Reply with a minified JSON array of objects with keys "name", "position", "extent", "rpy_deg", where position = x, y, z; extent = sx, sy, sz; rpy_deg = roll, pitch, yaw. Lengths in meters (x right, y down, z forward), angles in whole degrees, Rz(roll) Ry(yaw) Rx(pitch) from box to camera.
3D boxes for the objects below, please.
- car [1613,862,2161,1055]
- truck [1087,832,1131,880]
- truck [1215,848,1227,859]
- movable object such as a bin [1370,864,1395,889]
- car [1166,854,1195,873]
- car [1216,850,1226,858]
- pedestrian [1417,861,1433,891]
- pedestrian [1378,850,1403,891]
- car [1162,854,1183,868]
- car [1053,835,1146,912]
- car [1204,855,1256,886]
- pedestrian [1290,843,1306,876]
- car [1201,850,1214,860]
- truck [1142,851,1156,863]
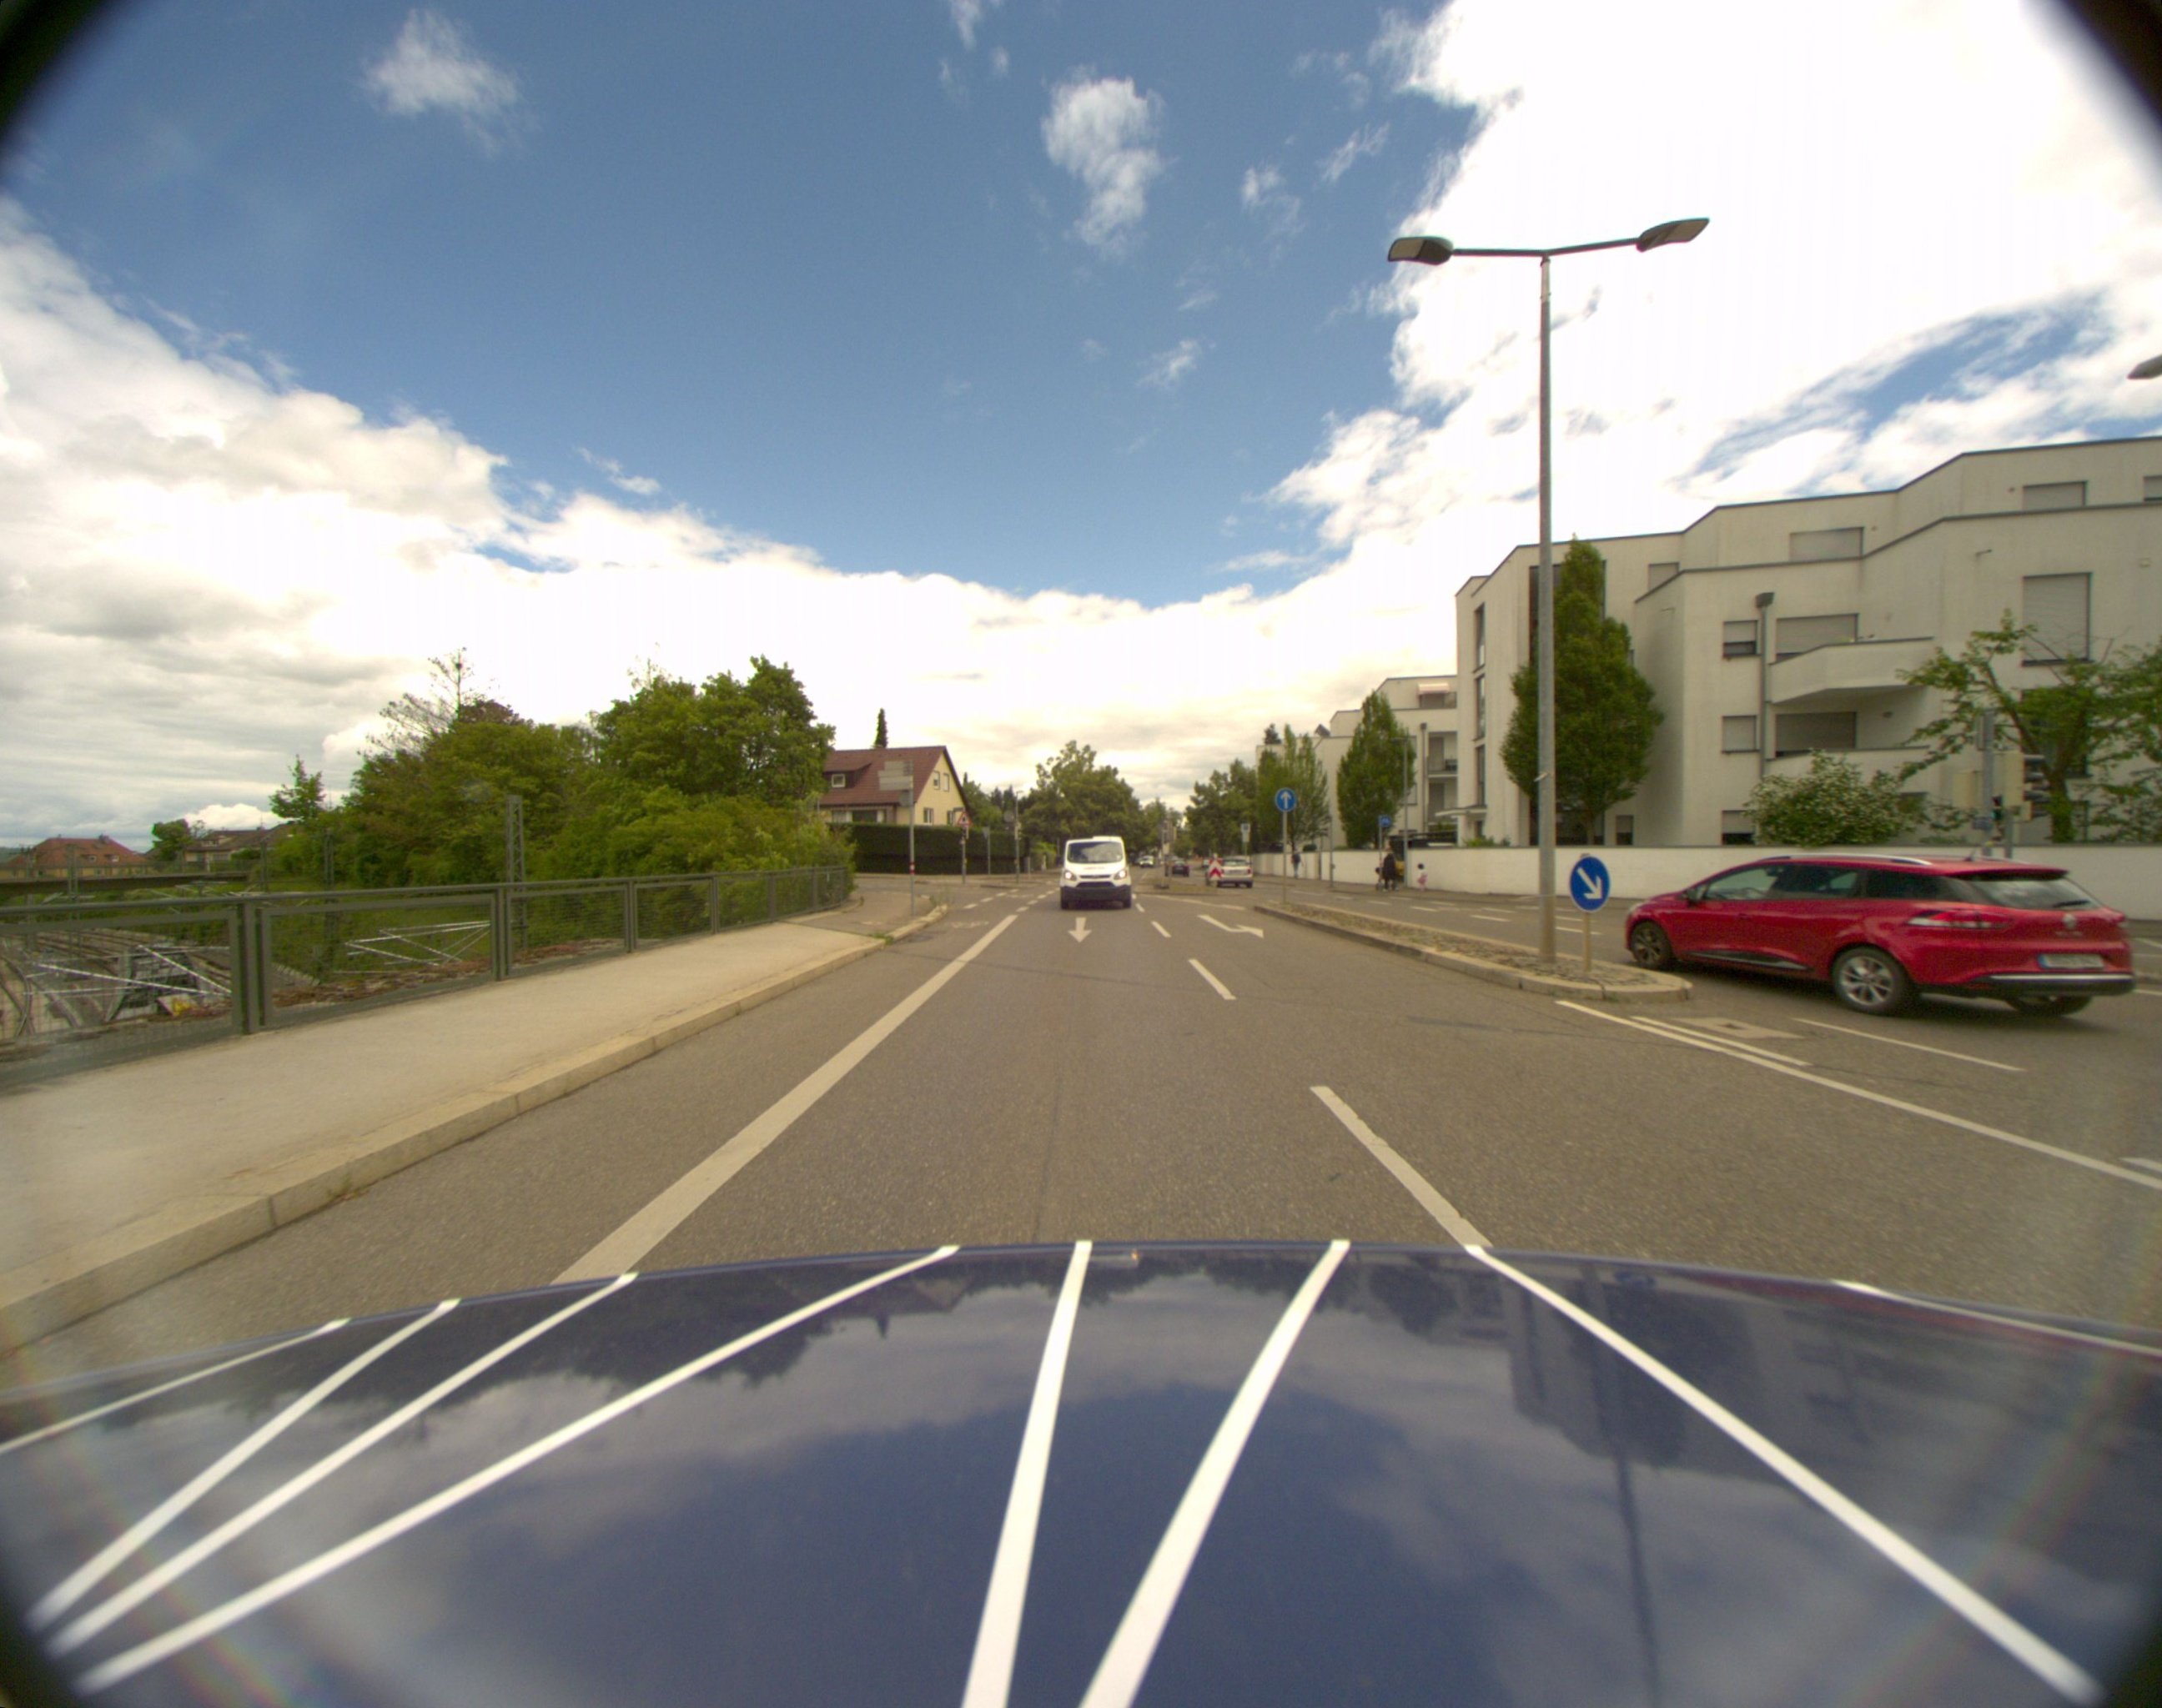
[{"name":"car","position":[7.921,0.845,8.008],"extent":[1.725,1.439,4.066],"rpy_deg":[1,0,-1]},{"name":"truck","position":[1.696,0.092,43.573],"extent":[2.035,2.555,6.060],"rpy_deg":[1,0,6]},{"name":"truck","position":[33.331,-0.143,180.338],"extent":[2.639,2.757,6.262],"rpy_deg":[0,0,12]},{"name":"movable object such as a bin","position":[12.045,0.892,30.372],"extent":[0.498,0.954,0.986],"rpy_deg":[-5,1,-1]},{"name":"car","position":[7.776,0.733,59.696],"extent":[1.724,1.383,3.918],"rpy_deg":[1,0,1]},{"name":"car","position":[28.532,-0.071,154.854],"extent":[1.887,1.606,4.004],"rpy_deg":[0,0,13]},{"name":"pedestrian","position":[12.835,0.820,28.388],"extent":[0.326,1.056,0.444],"rpy_deg":[-4,1,0]},{"name":"pedestrian","position":[12.038,0.632,29.593],"extent":[0.532,1.534,0.732],"rpy_deg":[-5,1,-1]},{"name":"car","position":[10.343,0.786,86.332],"extent":[1.803,1.435,3.948],"rpy_deg":[0,0,-1]},{"name":"car","position":[0.725,0.519,22.817],"extent":[2.074,1.956,5.561],"rpy_deg":[-2,0,8]},{"name":"car","position":[7.219,0.761,37.187],"extent":[1.647,1.401,3.818],"rpy_deg":[0,0,-2]},{"name":"pedestrian","position":[13.110,0.305,45.892],"extent":[0.650,1.936,0.872],"rpy_deg":[-3,1,1]},{"name":"car","position":[21.416,0.134,128.399],"extent":[1.915,1.643,4.004],"rpy_deg":[0,0,13]},{"name":"truck","position":[10.124,0.418,112.414],"extent":[1.613,1.780,4.003],"rpy_deg":[1,0,11]}]
